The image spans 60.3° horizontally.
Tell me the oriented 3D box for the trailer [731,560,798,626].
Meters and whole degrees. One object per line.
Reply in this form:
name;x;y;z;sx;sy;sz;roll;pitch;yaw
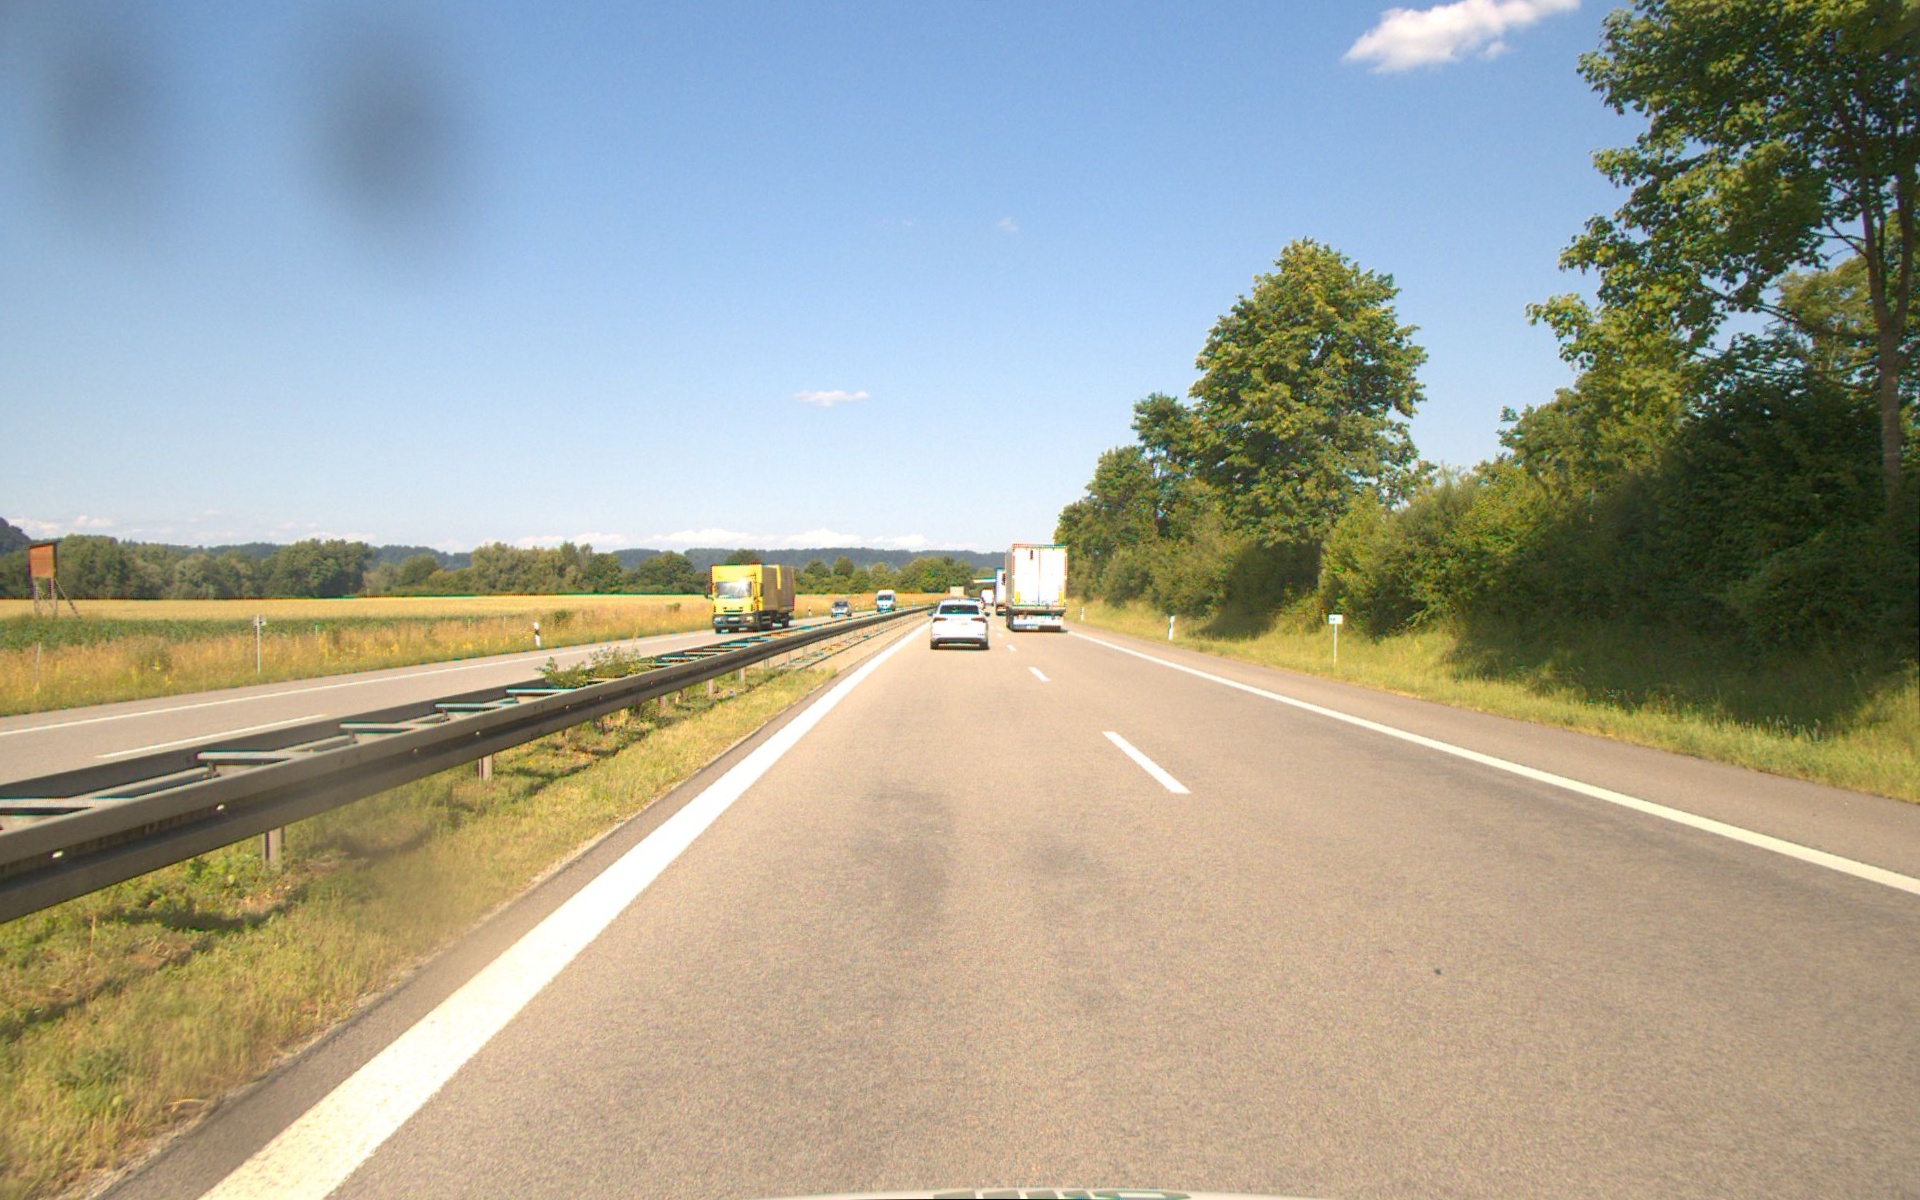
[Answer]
trailer;-11.143;-0.392;95.189;2.680;3.520;9.232;-2;0;0

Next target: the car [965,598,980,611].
car;1.491;0.537;196.769;1.735;1.446;4.364;1;0;0

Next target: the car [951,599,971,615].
car;0.085;0.617;151.594;1.735;1.446;4.364;1;0;-1

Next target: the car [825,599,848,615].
car;-11.133;0.639;149.513;1.798;1.400;4.000;-1;0;0

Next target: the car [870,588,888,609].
car;-9.751;-0.157;198.630;1.886;2.519;5.185;-1;0;0

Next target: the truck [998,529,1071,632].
truck;3.522;-0.922;80.551;3.088;4.693;8.905;-1;0;0

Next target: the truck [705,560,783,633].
truck;-11.111;-0.162;85.905;2.680;3.442;9.232;-3;0;0

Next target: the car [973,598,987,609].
car;2.694;0.480;220.306;1.734;1.446;4.365;1;0;1

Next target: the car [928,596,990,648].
car;-0.072;0.637;50.910;1.803;1.446;5.253;1;0;-1

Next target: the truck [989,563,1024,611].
truck;4.142;-1.173;149.188;2.951;4.187;8.906;-1;0;1
